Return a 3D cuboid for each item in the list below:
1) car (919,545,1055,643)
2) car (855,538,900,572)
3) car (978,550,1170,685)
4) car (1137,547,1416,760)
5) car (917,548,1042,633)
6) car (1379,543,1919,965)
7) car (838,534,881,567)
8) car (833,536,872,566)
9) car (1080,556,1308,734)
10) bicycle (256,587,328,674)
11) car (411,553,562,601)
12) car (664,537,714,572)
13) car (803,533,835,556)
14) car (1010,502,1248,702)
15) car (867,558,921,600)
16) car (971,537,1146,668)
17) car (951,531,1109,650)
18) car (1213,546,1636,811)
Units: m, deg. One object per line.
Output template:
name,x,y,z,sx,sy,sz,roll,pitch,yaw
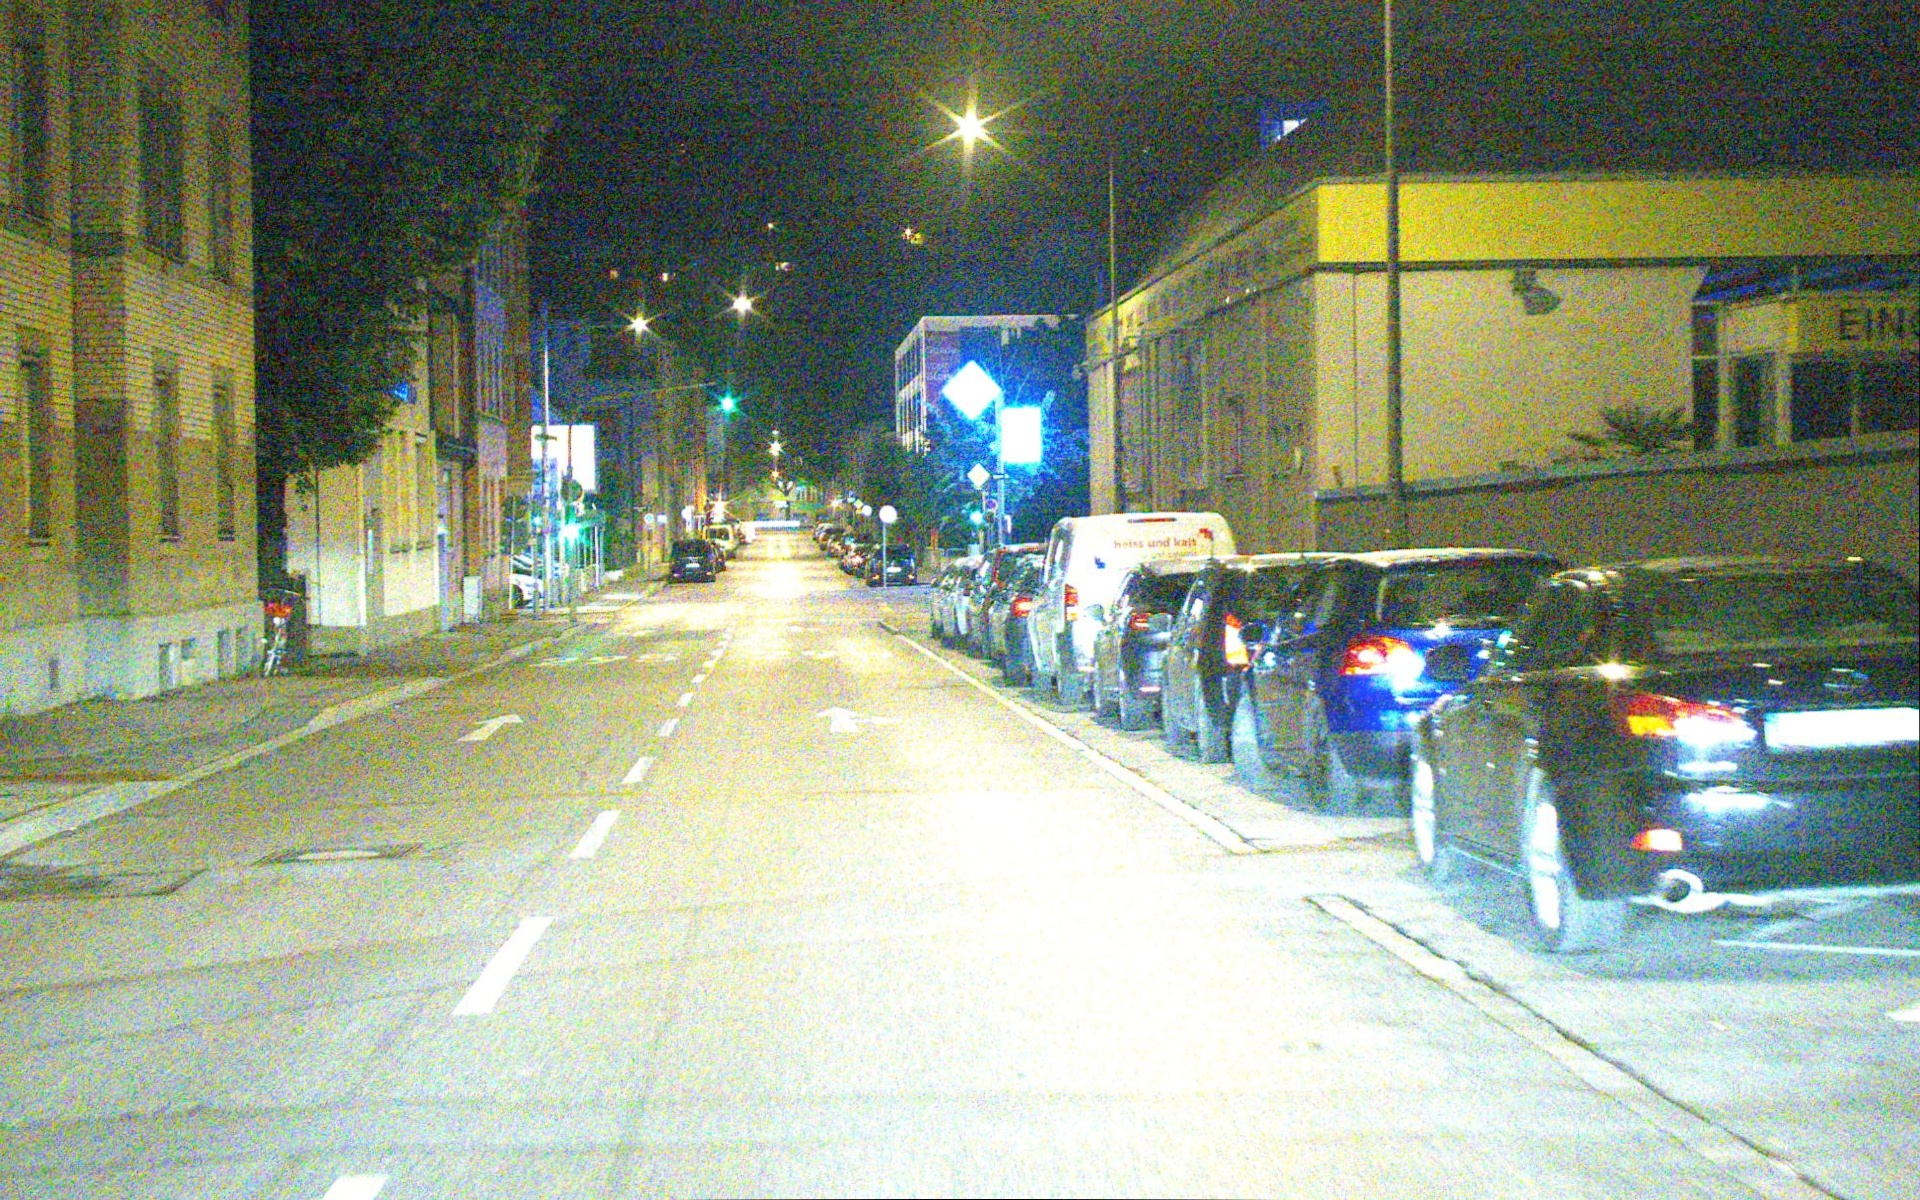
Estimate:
car,0.401,-0.111,56.663,1.774,1.539,4.547,-1,0,-5
car,-3.711,-2.017,154.562,1.993,1.515,4.000,-1,0,-1
car,1.290,0.164,40.650,1.816,1.422,4.189,-2,1,-4
car,2.291,0.361,25.699,1.595,1.462,3.719,-1,0,-2
car,0.315,-0.175,63.021,1.859,1.484,4.547,-1,0,-5
car,2.940,0.504,13.928,1.778,1.422,4.481,-1,0,-2
car,-4.718,-2.332,161.537,1.993,1.515,4.000,-1,0,-1
car,-5.570,-2.541,178.681,1.993,1.515,4.000,-1,0,-1
car,2.008,0.359,30.420,1.595,1.462,3.892,-1,0,-2
bicycle,-8.310,0.367,42.799,0.619,1.048,1.722,-1,0,-2
car,-14.614,-0.714,106.253,4.438,1.445,2.000,-1,0,-3
car,-11.704,-1.963,148.584,1.993,1.497,4.000,-1,0,-3
car,-9.289,-3.649,226.722,1.993,1.515,4.000,-1,0,-1
car,1.687,-0.022,35.969,1.800,1.868,4.774,-3,1,-5
car,-2.513,-0.803,130.612,1.993,1.511,4.000,0,1,-1
car,1.252,-0.011,45.749,1.823,1.583,4.629,-2,1,-4
car,0.987,-0.178,50.888,1.823,1.617,4.458,-2,1,-5
car,2.668,0.413,20.604,1.778,1.422,3.892,-1,0,-4
